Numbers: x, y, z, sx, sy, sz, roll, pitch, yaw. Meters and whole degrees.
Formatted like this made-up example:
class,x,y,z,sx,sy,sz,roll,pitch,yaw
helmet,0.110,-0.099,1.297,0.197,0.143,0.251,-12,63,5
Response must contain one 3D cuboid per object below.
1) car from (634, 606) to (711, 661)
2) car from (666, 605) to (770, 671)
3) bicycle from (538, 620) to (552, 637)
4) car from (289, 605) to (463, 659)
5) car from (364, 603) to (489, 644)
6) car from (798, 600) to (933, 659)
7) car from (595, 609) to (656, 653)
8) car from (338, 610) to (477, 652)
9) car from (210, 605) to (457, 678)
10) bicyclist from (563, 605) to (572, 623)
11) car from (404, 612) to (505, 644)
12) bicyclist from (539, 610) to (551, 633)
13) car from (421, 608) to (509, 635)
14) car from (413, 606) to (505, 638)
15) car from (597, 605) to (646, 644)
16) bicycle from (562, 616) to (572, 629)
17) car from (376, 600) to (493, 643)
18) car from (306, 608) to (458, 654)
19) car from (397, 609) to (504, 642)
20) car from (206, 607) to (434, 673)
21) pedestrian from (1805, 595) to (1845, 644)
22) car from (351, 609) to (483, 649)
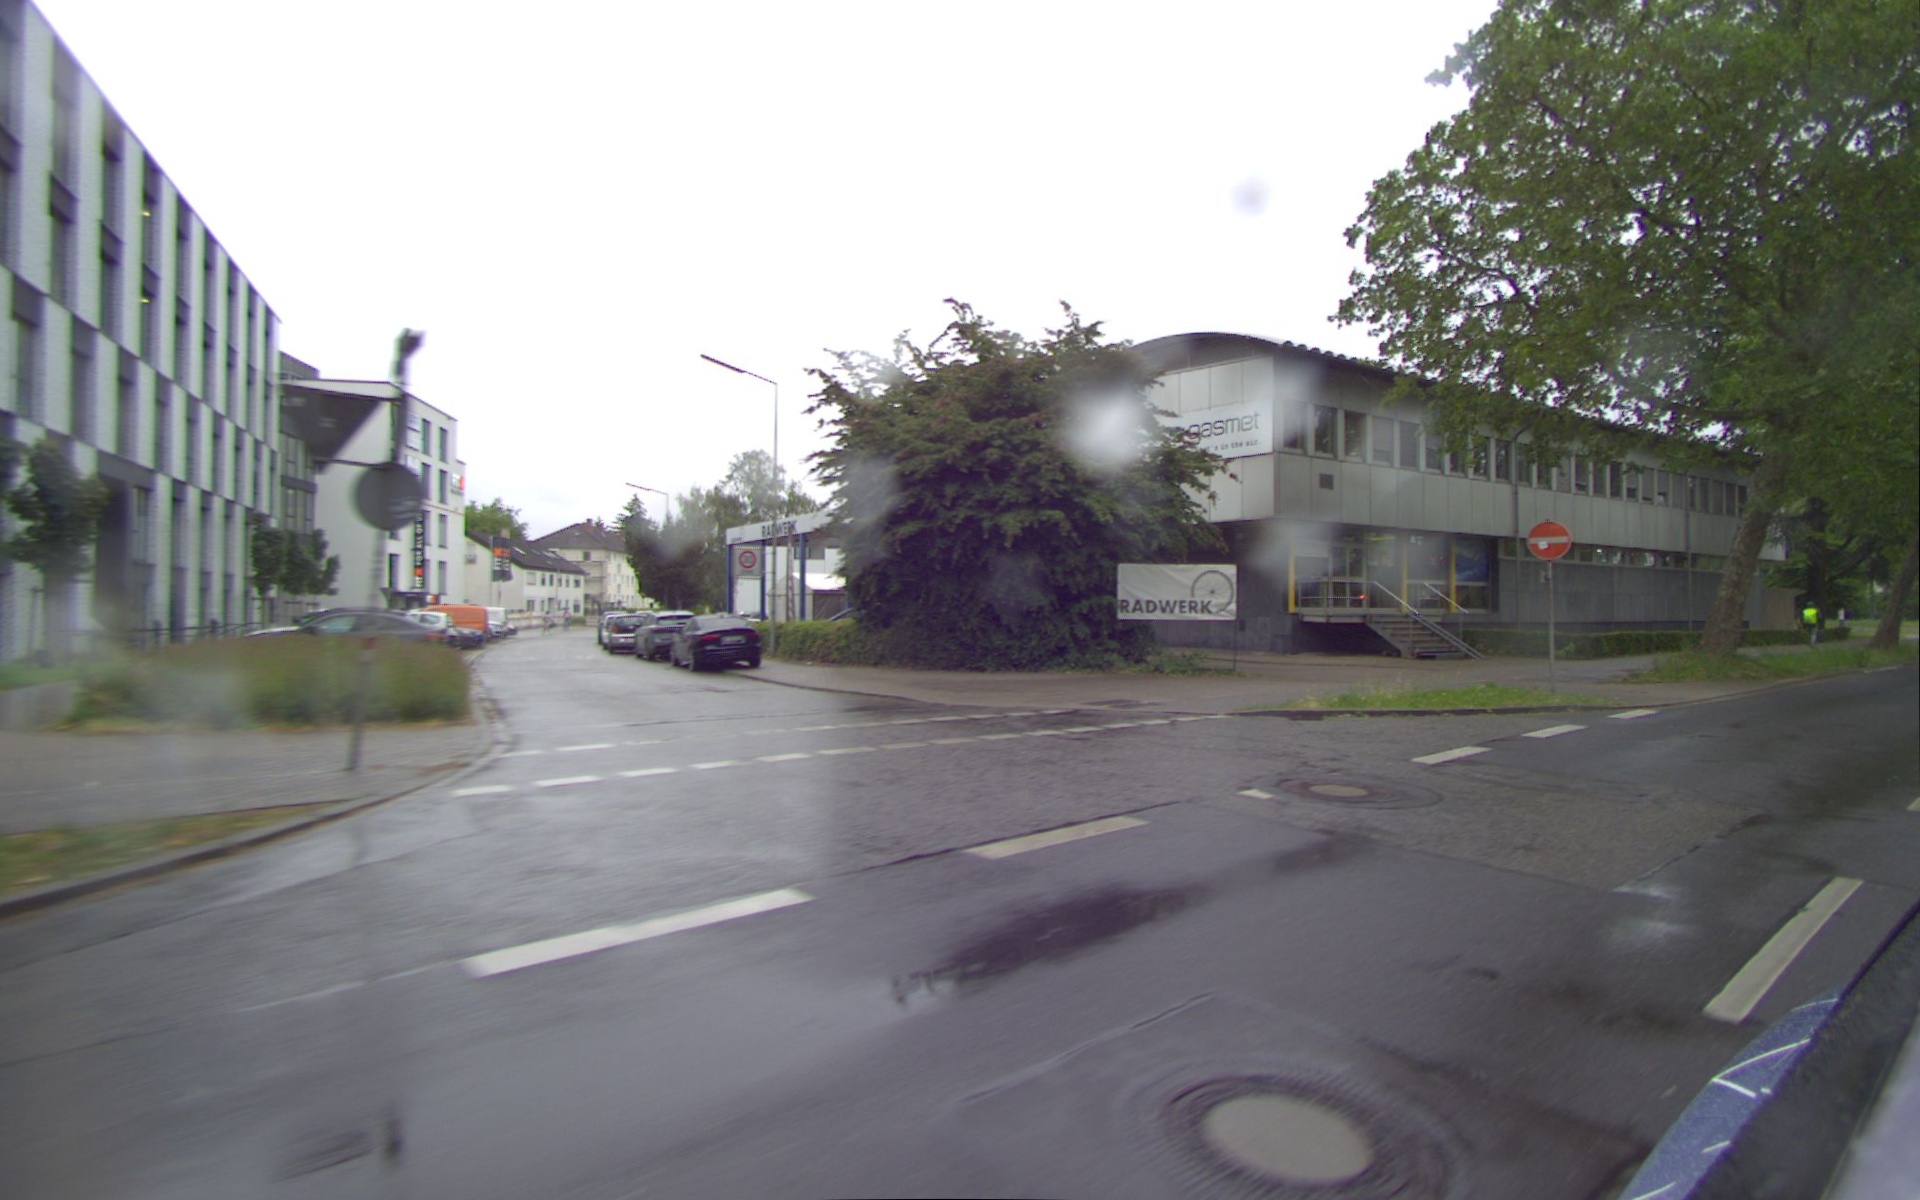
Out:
class,x,y,z,sx,sy,sz,roll,pitch,yaw
car,-9.429,1.030,32.996,1.855,1.549,4.314,-3,1,-23
car,-6.667,0.973,27.553,1.855,1.525,4.312,-4,1,-25
bicycle,-29.276,1.995,71.338,0.670,1.100,1.818,0,0,-15
car,-18.468,0.985,32.268,4.631,1.637,1.897,1,-1,-25
car,-22.938,1.001,43.725,4.631,1.683,1.897,1,-1,-25
car,-3.121,0.939,33.080,4.092,1.549,1.897,-4,1,-12
car,-13.113,1.162,39.545,1.855,1.487,4.313,-3,1,-23
car,-21.406,1.187,39.433,4.631,1.549,1.897,1,-1,-25
car,-14.272,0.903,23.407,4.631,1.549,1.897,1,-1,-25
bicyclist,-35.127,1.259,90.527,0.662,1.556,0.648,0,0,-15
car,-26.177,1.430,52.570,4.631,1.549,1.897,1,-1,-25
bicyclist,-29.271,1.501,71.333,0.671,1.556,0.648,0,0,-15
car,-29.436,1.271,60.279,4.631,1.549,1.897,1,-1,-25
car,-28.597,1.261,57.875,4.631,1.750,1.897,1,-1,-25
car,-14.825,1.019,44.482,1.854,1.487,4.315,-3,1,-17
bicycle,-35.106,1.979,90.427,0.670,1.100,1.818,0,0,-15
car,-23.957,0.981,46.313,4.631,1.869,1.897,1,-1,-25
car,-20.867,1.099,36.802,4.631,1.549,1.897,1,-1,-25
car,-24.973,1.225,49.781,4.631,1.549,1.944,1,-1,-25
car,-15.923,0.960,25.518,4.632,1.549,1.896,1,-1,-26
pedestrian,31.167,0.700,36.479,0.882,1.717,0.834,0,-1,-31
car,-22.108,1.158,41.433,4.631,1.549,1.897,1,-1,-25
